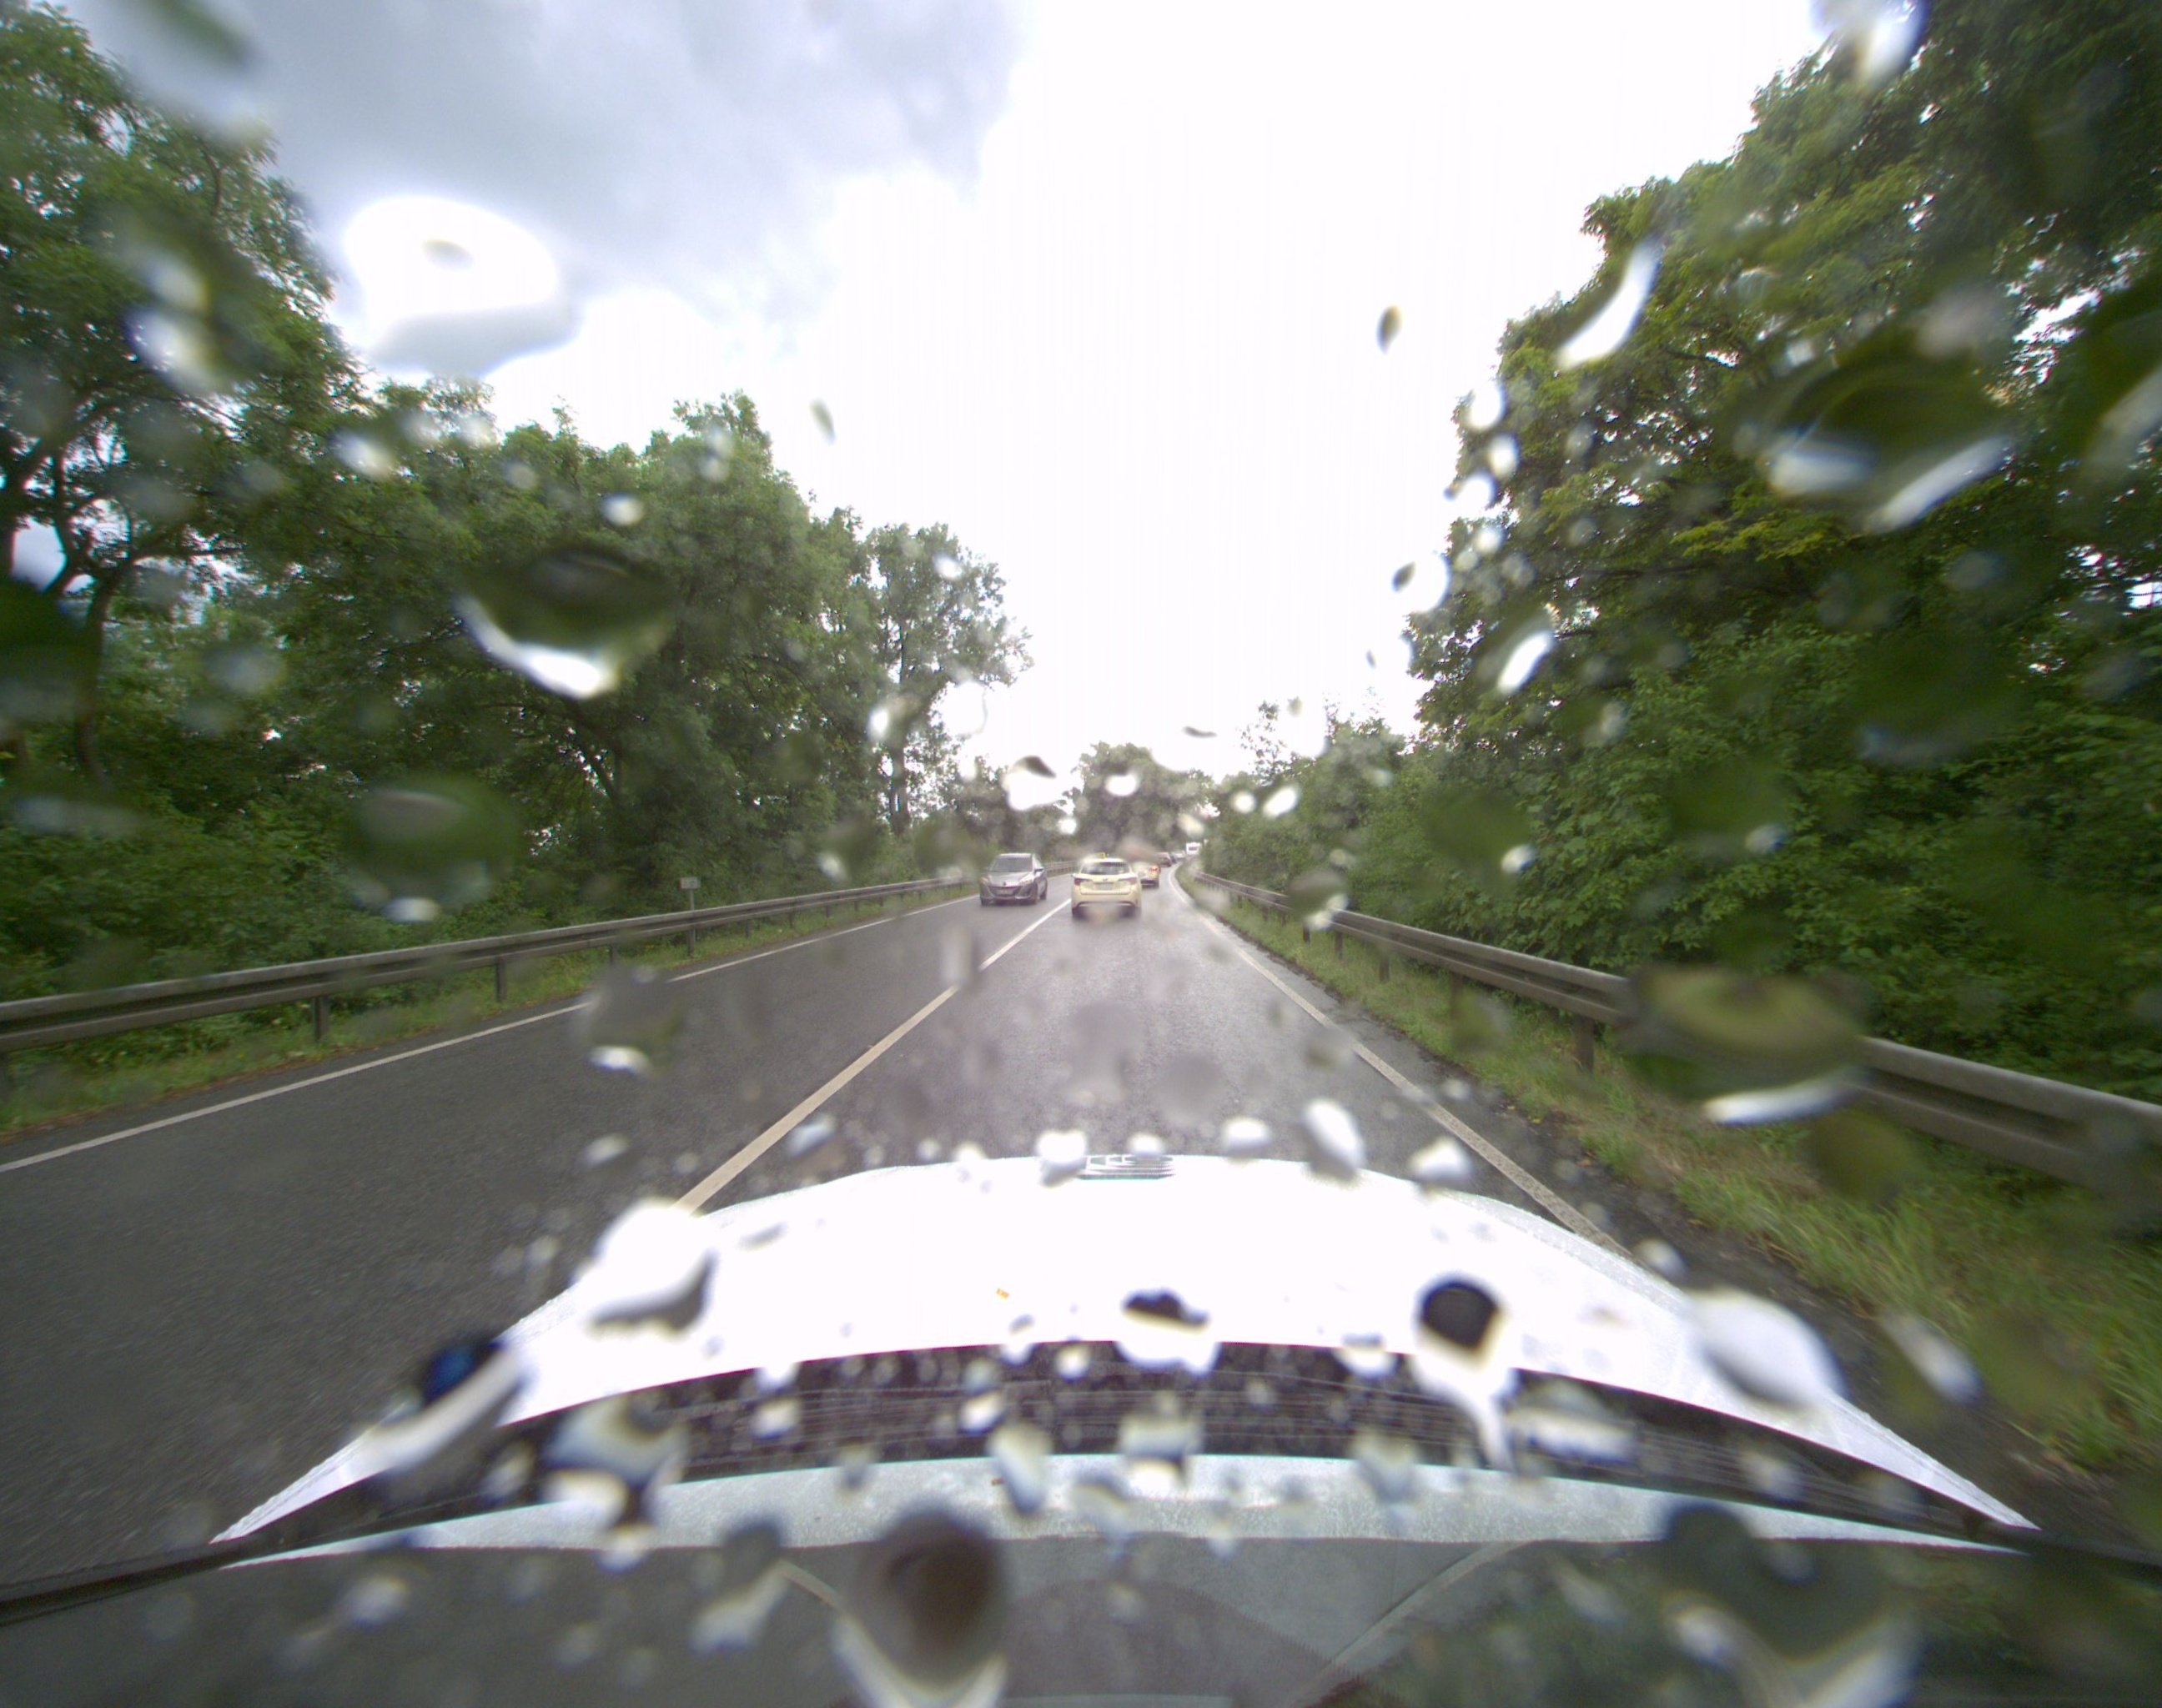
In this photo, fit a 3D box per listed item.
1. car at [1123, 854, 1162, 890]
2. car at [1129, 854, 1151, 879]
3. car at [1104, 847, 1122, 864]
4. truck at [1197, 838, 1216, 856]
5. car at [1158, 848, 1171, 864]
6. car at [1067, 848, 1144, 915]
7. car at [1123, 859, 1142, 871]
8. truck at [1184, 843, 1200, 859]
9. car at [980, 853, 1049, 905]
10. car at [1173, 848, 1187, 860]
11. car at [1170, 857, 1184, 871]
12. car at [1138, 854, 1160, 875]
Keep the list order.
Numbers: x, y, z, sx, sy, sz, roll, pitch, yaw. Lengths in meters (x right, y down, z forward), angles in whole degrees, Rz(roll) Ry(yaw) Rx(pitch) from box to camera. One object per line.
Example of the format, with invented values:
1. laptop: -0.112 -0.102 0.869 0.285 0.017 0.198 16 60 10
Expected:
1. car: 2.904 0.814 38.167 1.659 1.580 3.898 -1 -1 6
2. car: 3.702 0.784 51.587 1.295 1.547 3.262 -1 -1 3
3. car: 3.897 0.226 98.197 1.985 2.014 4.004 -1 -1 4
4. truck: 26.463 -1.388 171.428 3.083 3.680 7.030 -1 -1 17
5. car: 8.487 0.232 83.029 1.160 1.547 2.610 -1 -1 9
6. car: 0.756 0.693 21.725 1.825 1.580 4.161 -1 -1 4
7. car: 6.102 1.287 95.948 1.801 1.355 4.010 -1 -1 9
8. truck: 19.651 -0.494 144.406 2.537 2.713 7.547 -1 -1 6
9. car: -2.106 0.755 26.913 1.685 1.574 4.378 -1 0 3
10. car: 14.187 0.006 116.464 1.759 1.547 3.824 -1 -1 10
11. car: 11.450 1.183 96.809 1.607 1.613 3.629 -1 -1 7
12. car: 5.340 0.832 63.943 1.604 1.547 3.818 -1 -2 4
